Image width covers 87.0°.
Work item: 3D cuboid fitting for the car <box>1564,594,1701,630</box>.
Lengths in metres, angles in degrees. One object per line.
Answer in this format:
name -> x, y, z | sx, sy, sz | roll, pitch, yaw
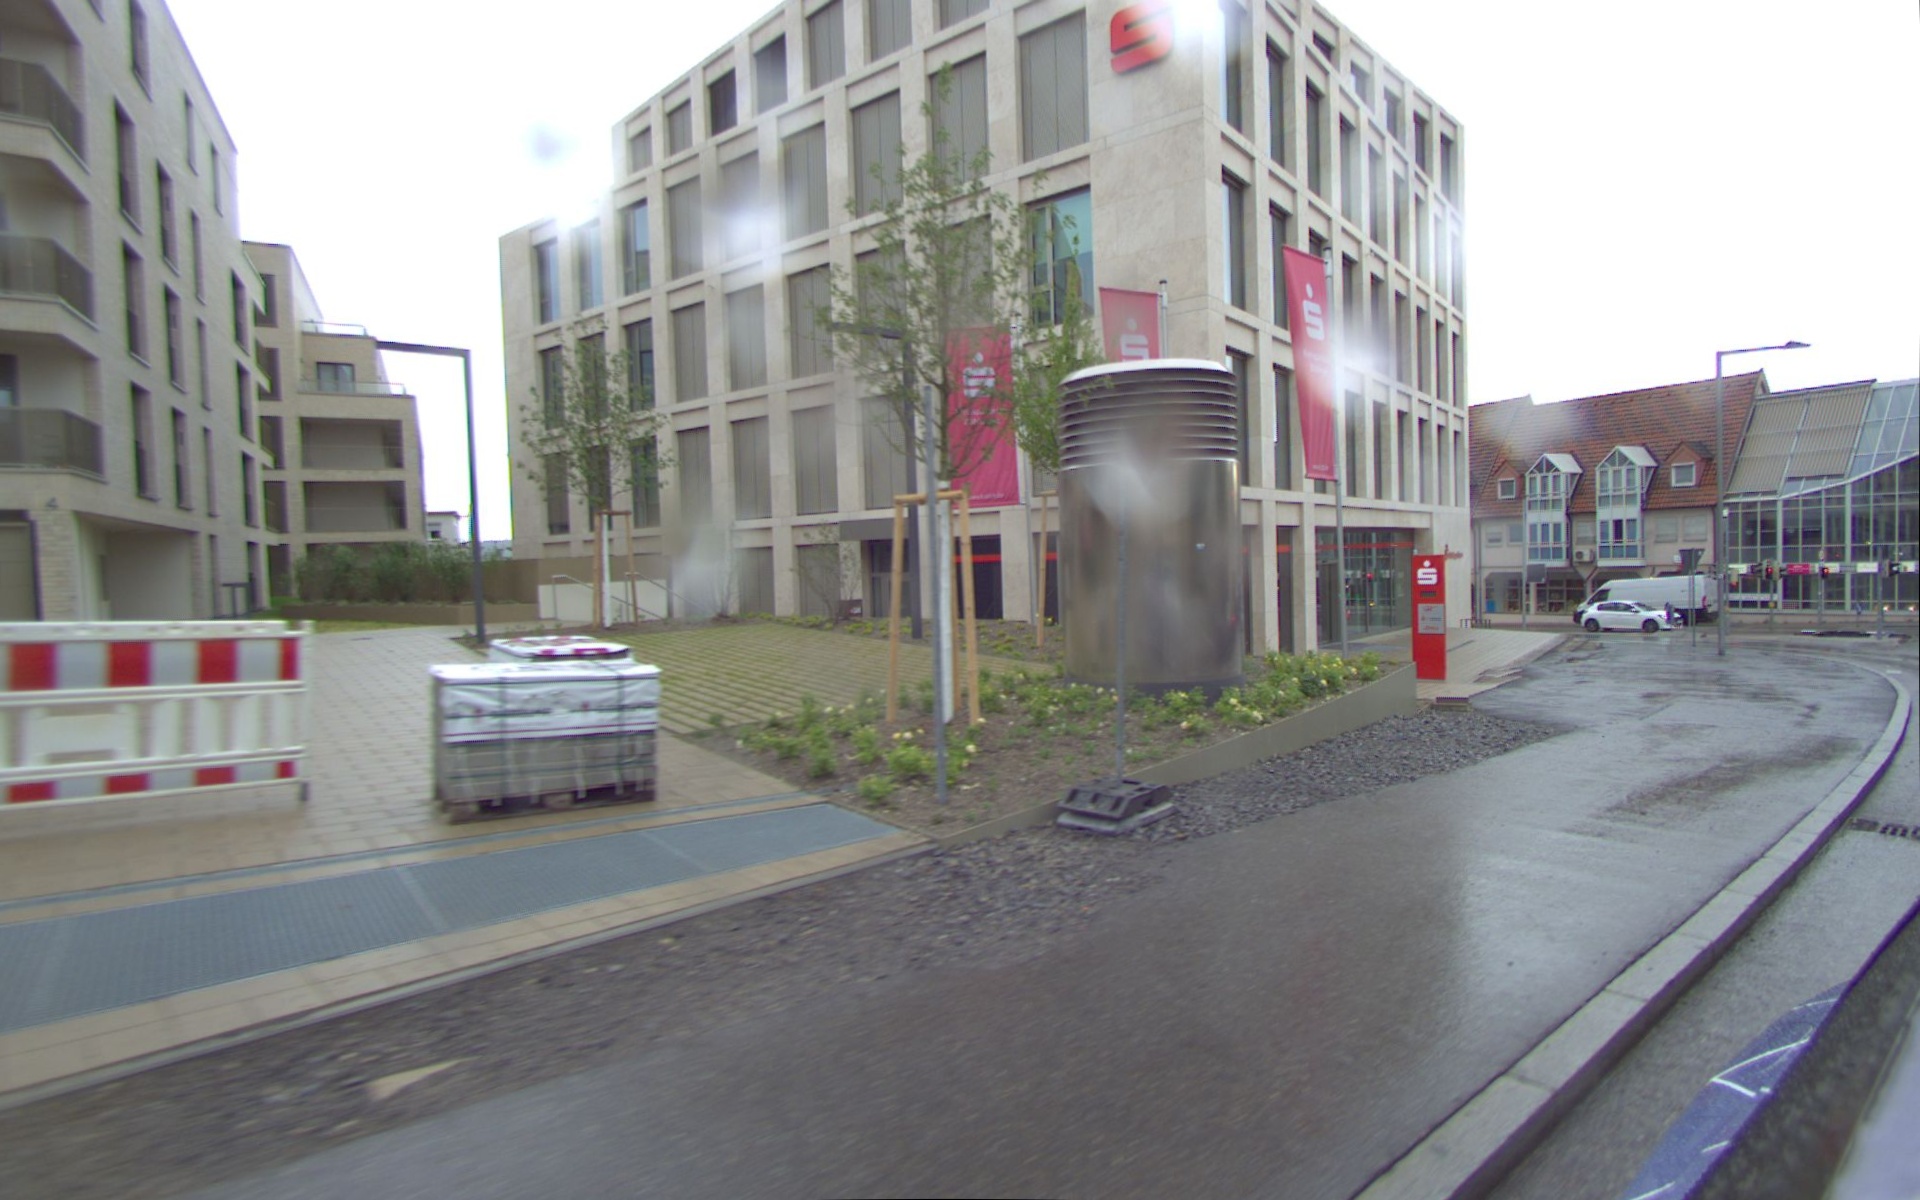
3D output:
car -> 31.587, 0.527, 47.686 | 1.961, 1.565, 5.036 | 0, 1, -32
